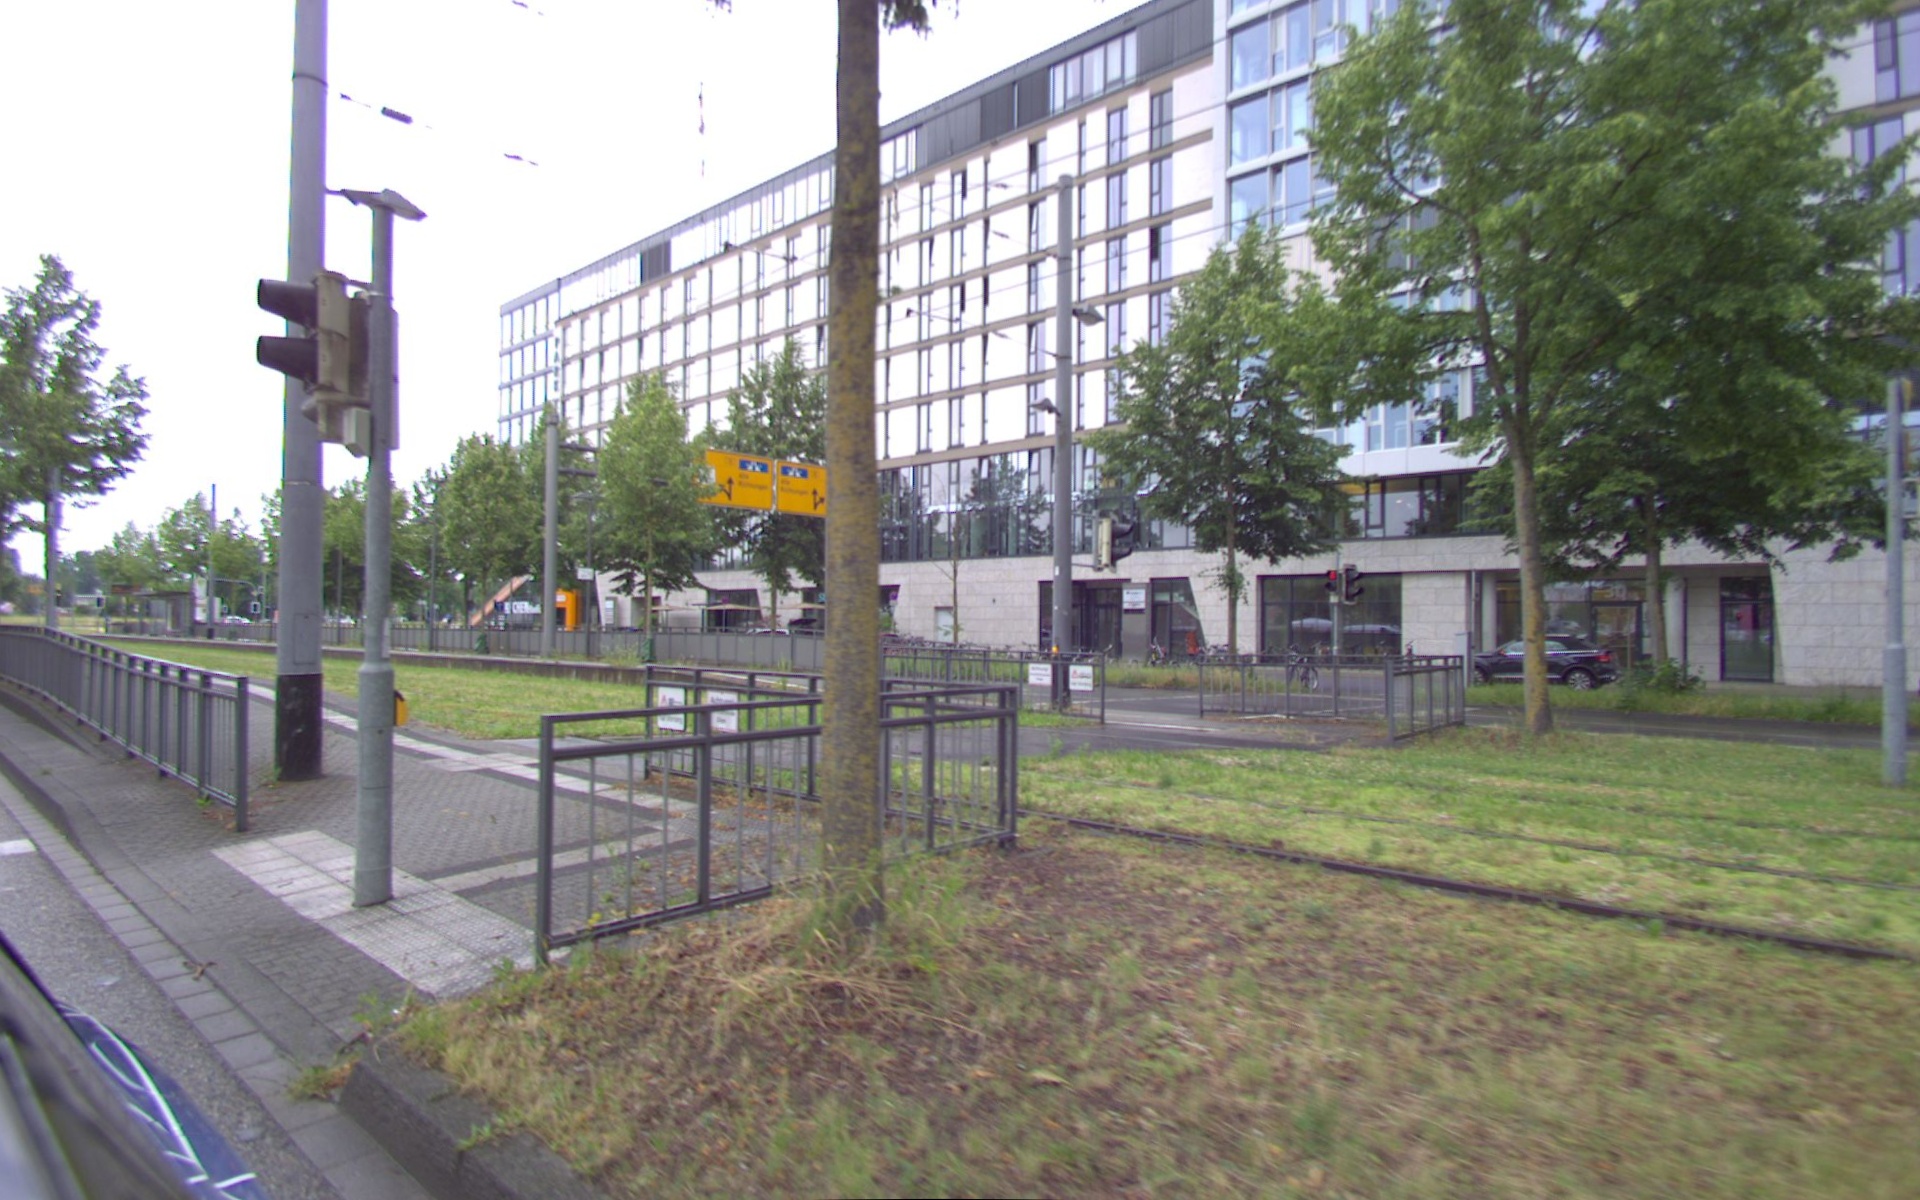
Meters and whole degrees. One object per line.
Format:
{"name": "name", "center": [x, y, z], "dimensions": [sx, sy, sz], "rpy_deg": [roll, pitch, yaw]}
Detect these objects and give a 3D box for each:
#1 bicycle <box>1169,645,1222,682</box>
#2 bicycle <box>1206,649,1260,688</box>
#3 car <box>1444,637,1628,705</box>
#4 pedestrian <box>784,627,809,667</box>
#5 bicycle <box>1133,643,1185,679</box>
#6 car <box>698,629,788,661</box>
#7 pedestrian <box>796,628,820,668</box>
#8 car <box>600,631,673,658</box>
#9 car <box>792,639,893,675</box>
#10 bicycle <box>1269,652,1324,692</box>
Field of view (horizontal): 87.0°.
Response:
{"name": "bicycle", "center": [7.159, 1.898, 30.743], "dimensions": [0.696, 1.042, 1.957], "rpy_deg": [0, -1, 43]}
{"name": "bicycle", "center": [7.991, 1.979, 29.562], "dimensions": [0.696, 1.042, 1.957], "rpy_deg": [-1, -2, 43]}
{"name": "car", "center": [16.198, 1.931, 28.555], "dimensions": [4.190, 1.706, 1.972], "rpy_deg": [-1, -2, 41]}
{"name": "pedestrian", "center": [-7.003, 2.010, 43.314], "dimensions": [0.793, 1.704, 0.703], "rpy_deg": [-2, -2, 44]}
{"name": "bicycle", "center": [6.251, 1.891, 31.702], "dimensions": [0.696, 1.042, 1.957], "rpy_deg": [-1, -2, 43]}
{"name": "car", "center": [-9.655, 1.950, 44.863], "dimensions": [4.071, 1.298, 1.971], "rpy_deg": [-1, -2, 44]}
{"name": "pedestrian", "center": [-6.614, 2.064, 44.002], "dimensions": [0.793, 1.704, 0.703], "rpy_deg": [-2, -2, 44]}
{"name": "car", "center": [-16.943, 2.296, 52.928], "dimensions": [3.859, 1.298, 1.972], "rpy_deg": [0, -1, 42]}
{"name": "car", "center": [-4.704, 2.223, 40.173], "dimensions": [3.860, 1.298, 1.971], "rpy_deg": [-1, -2, 44]}
{"name": "bicycle", "center": [9.419, 1.990, 28.276], "dimensions": [0.696, 1.042, 1.957], "rpy_deg": [-1, -2, 43]}
